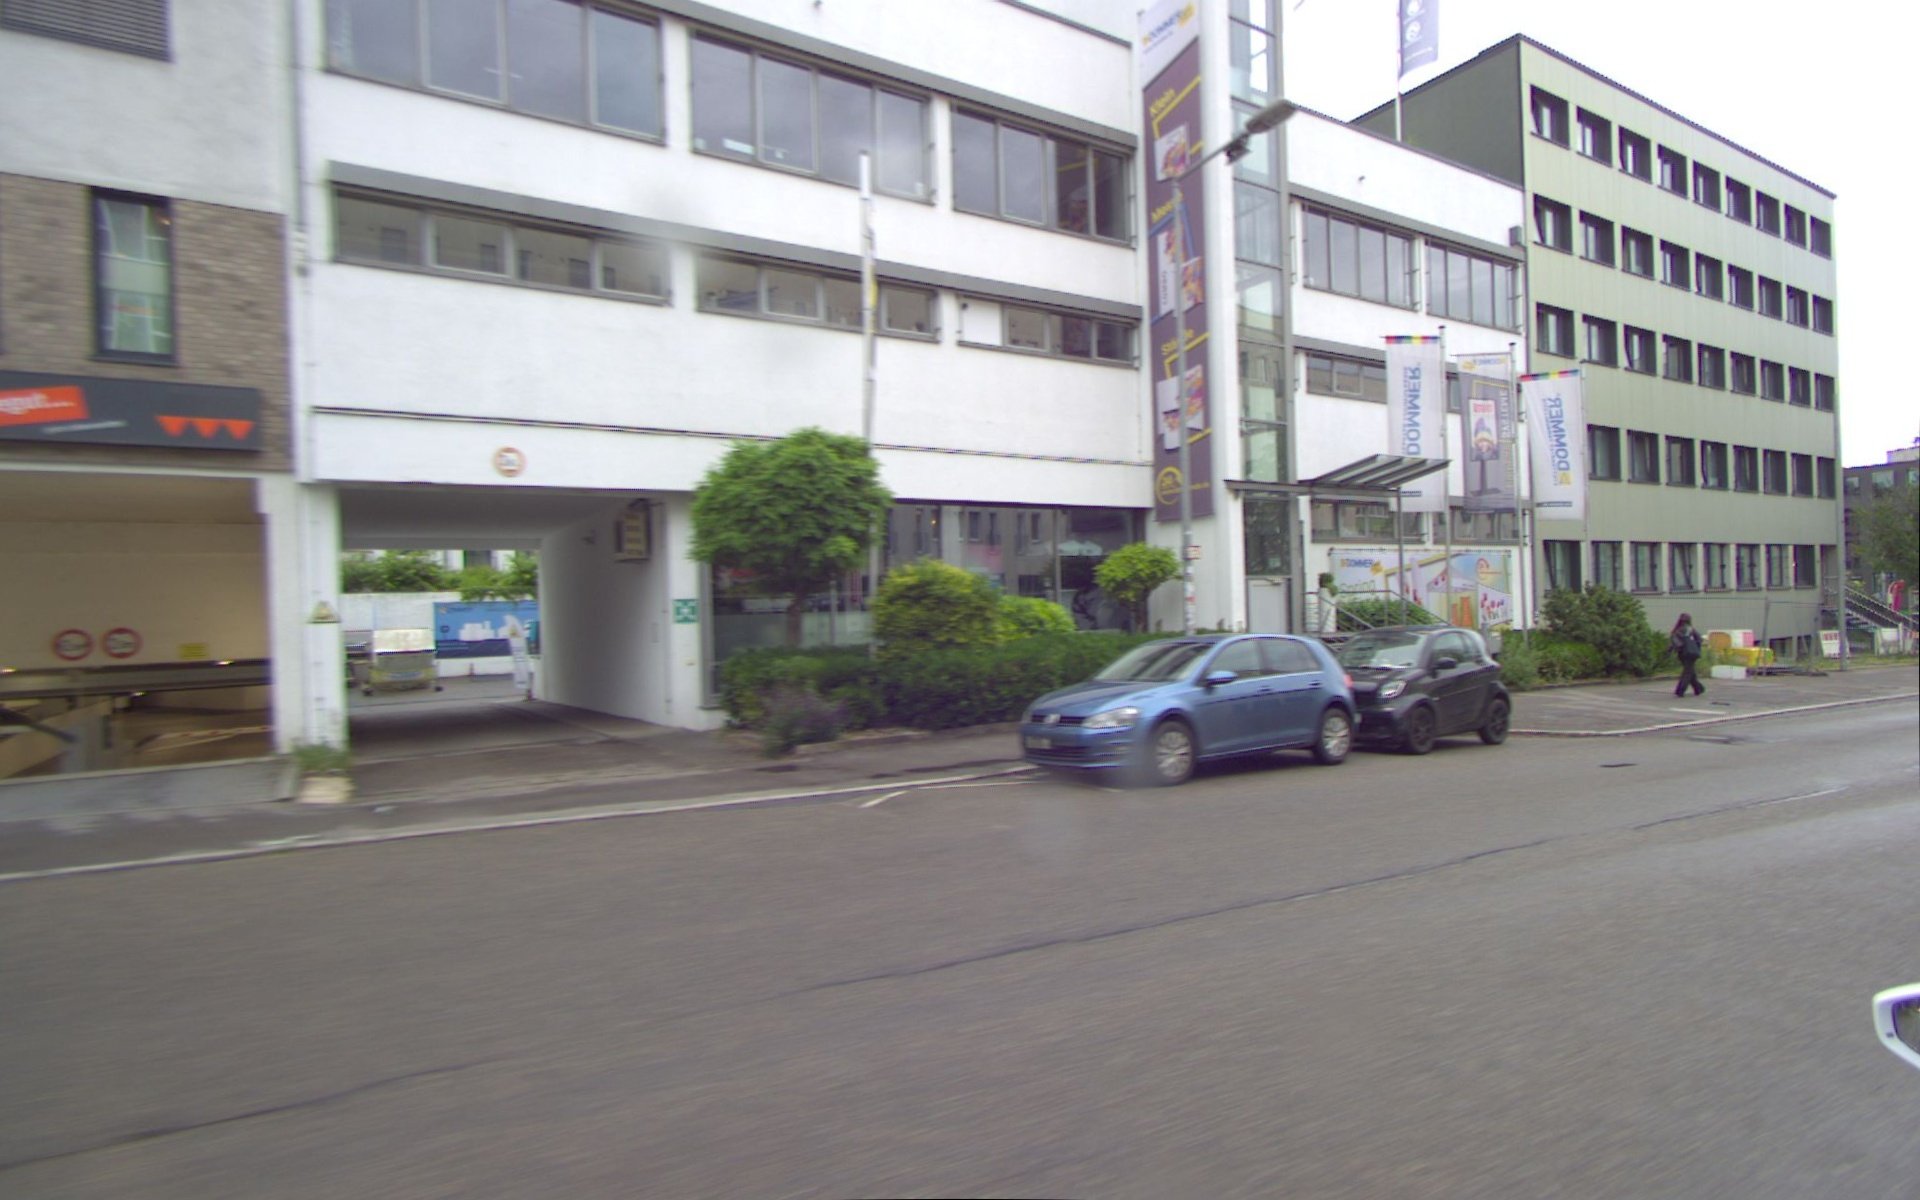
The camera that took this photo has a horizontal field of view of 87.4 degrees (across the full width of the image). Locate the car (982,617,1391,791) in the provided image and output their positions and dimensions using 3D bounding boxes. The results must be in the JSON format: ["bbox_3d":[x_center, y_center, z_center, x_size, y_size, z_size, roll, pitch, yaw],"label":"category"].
[{"bbox_3d":[2.527,0.966,10.764,4.314,1.500,1.901,2,-1,-36],"label":"car"}]

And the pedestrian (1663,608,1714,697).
[{"bbox_3d":[14.528,1.038,20.049,0.718,1.731,0.902,-1,-2,31],"label":"pedestrian"}]

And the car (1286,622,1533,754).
[{"bbox_3d":[5.960,1.071,13.255,3.138,1.534,1.554,1,-3,-34],"label":"car"}]

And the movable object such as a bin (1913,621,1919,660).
[{"bbox_3d":[33.112,1.365,34.005,0.868,1.338,1.193,1,-1,-44],"label":"movable object such as a bin"}]
